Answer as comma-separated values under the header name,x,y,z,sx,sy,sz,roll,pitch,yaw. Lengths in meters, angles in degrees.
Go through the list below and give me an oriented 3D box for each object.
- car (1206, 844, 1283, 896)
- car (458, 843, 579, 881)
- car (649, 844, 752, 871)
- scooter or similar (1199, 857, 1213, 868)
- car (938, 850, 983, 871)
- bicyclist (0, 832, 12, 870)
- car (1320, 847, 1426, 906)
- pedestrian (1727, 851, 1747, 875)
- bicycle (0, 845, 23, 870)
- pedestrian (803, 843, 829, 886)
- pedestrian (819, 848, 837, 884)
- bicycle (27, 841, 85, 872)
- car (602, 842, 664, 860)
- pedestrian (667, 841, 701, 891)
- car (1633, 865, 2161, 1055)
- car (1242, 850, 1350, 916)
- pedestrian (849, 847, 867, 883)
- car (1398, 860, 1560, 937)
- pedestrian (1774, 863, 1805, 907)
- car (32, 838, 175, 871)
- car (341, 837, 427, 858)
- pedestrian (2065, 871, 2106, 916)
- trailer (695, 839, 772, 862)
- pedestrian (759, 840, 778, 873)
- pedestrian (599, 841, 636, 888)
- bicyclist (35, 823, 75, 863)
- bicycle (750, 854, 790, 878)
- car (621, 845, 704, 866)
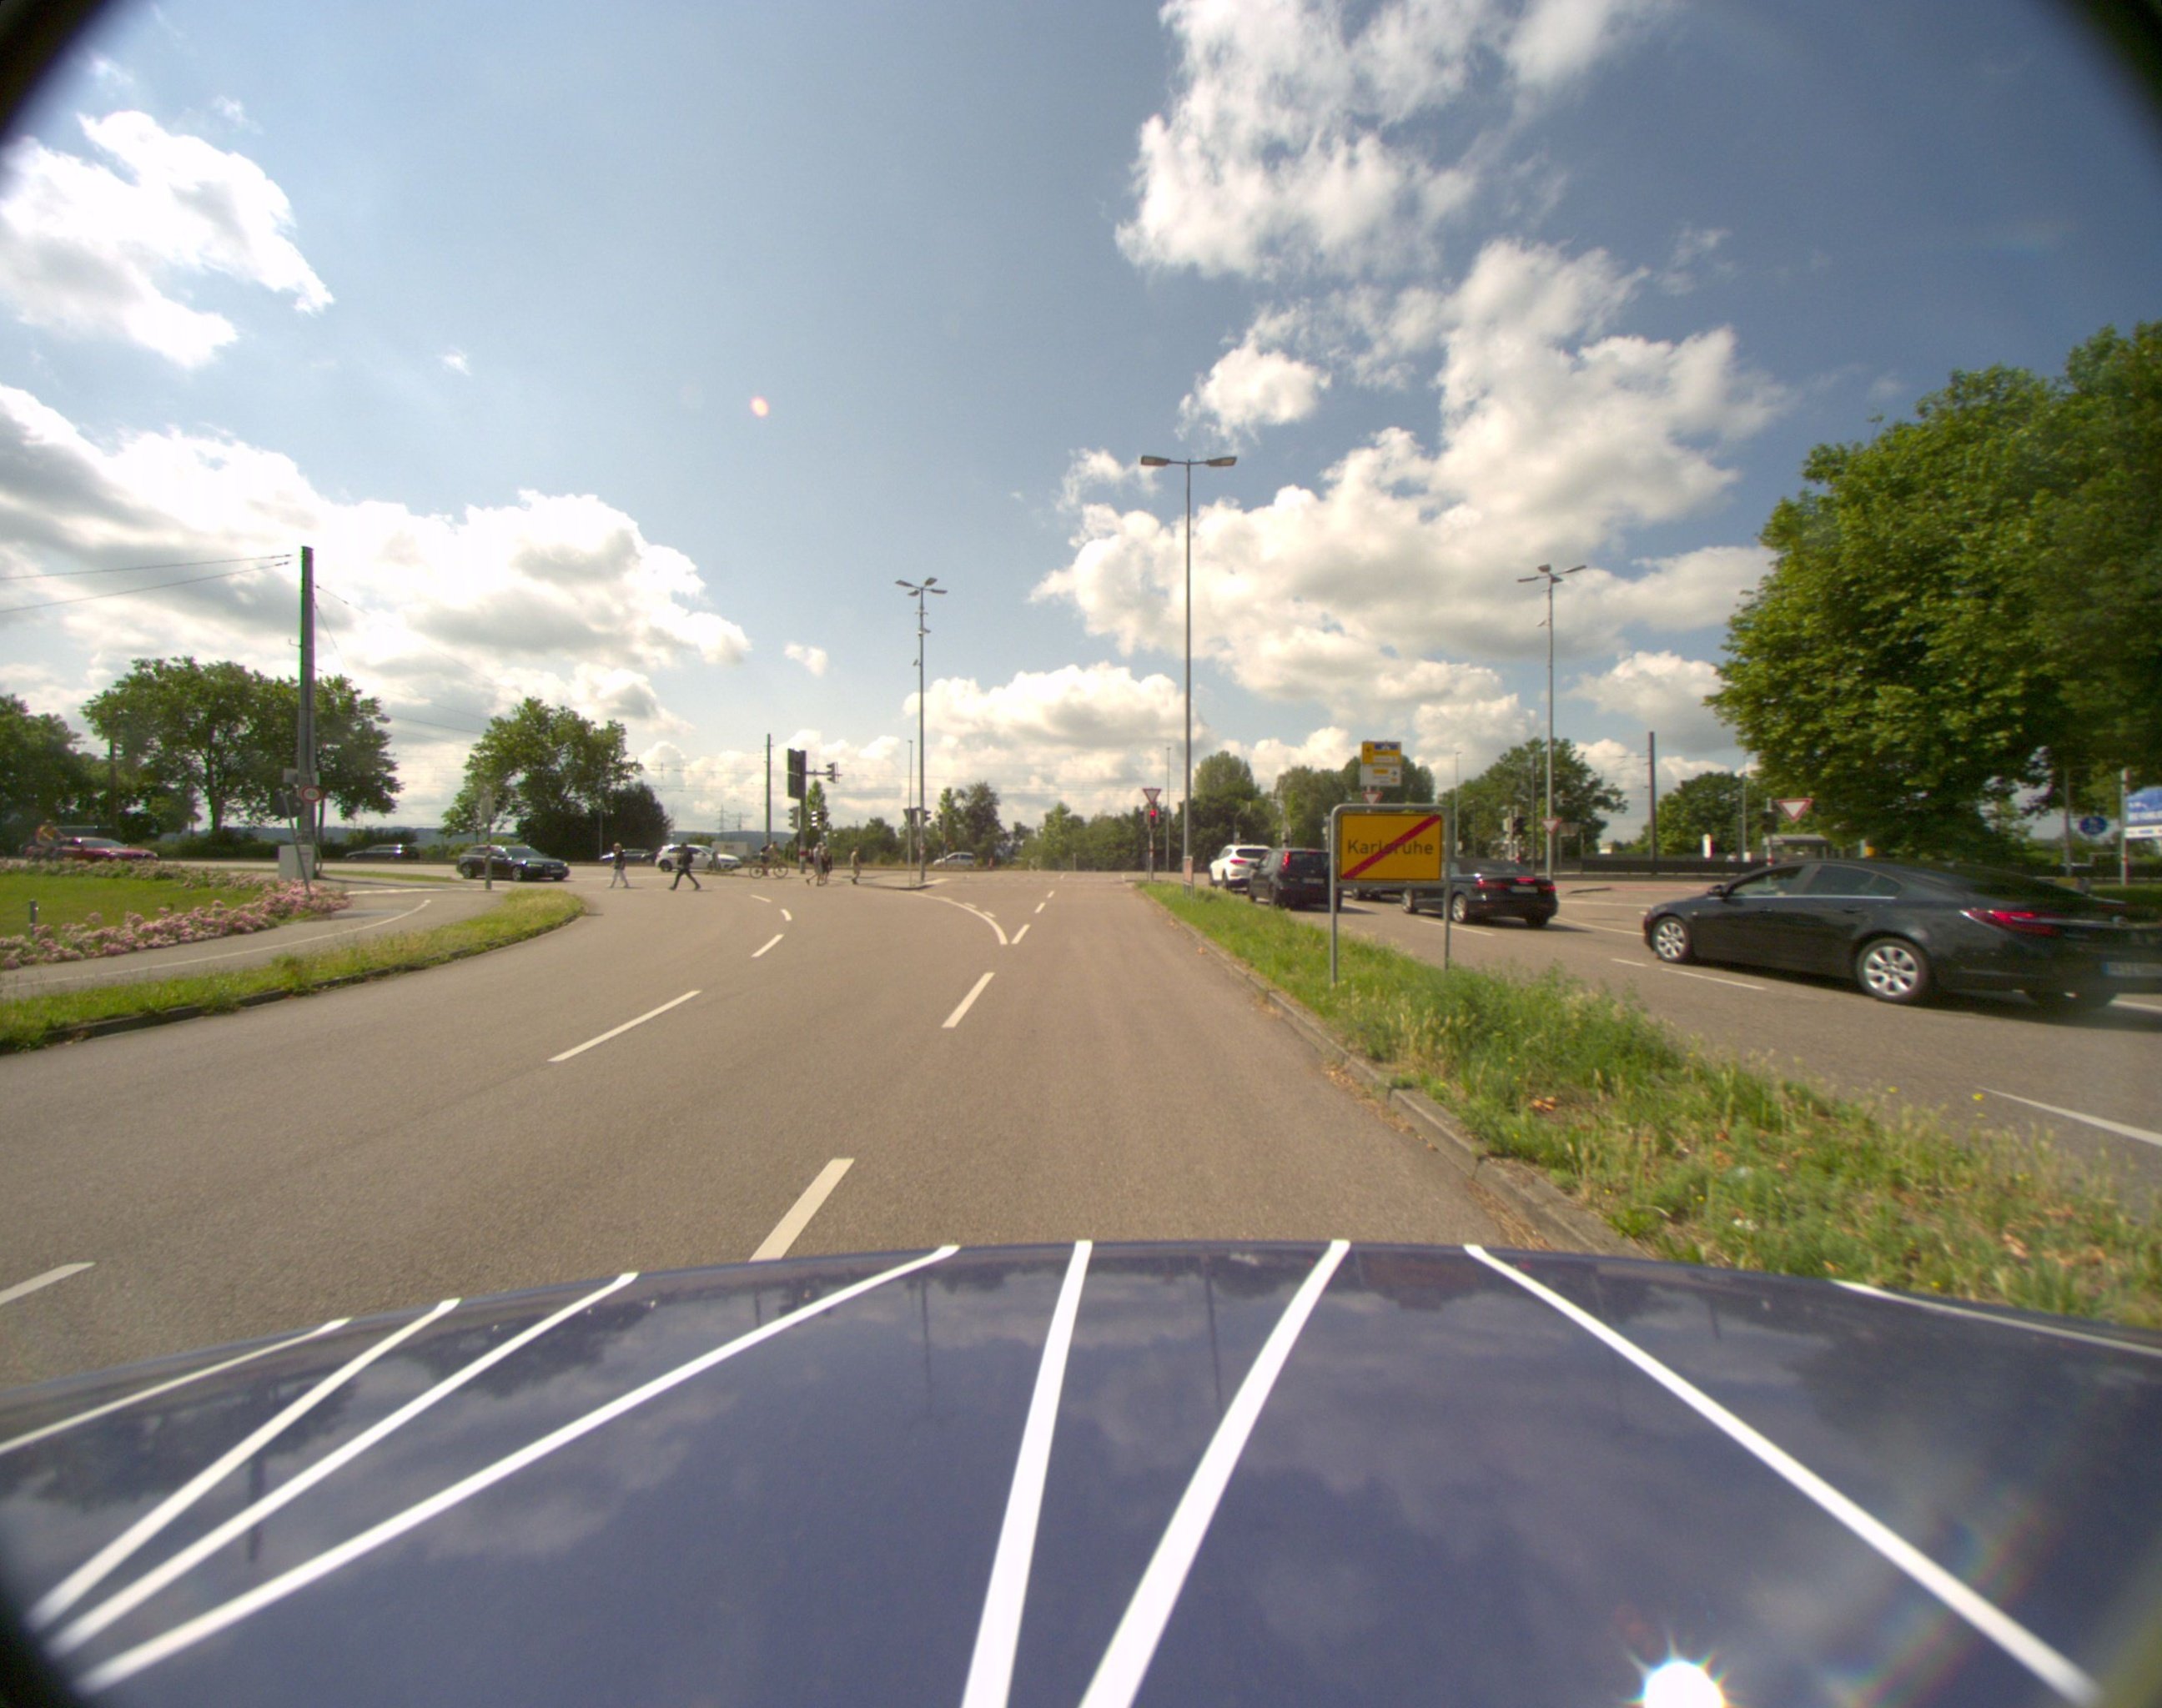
name,x,y,z,sx,sy,sz,roll,pitch,yaw
car,5.602,0.494,26.602,1.712,1.610,4.377,2,1,0
car,-23.626,0.321,31.954,4.193,1.474,1.918,1,1,15
car,-20.456,0.180,40.977,4.495,1.404,2.013,1,0,-2
scooter or similar,12.307,0.856,74.728,1.249,1.092,0.343,-1,0,-2
car,-9.856,0.491,62.321,3.491,1.448,1.699,-3,2,-8
bicyclist,-42.182,-0.107,29.402,0.742,1.466,0.651,-1,0,2
car,9.150,0.635,24.179,1.775,1.606,3.999,2,1,0
pedestrian,48.244,0.649,55.878,0.792,1.698,0.761,1,0,-4
bicycle,-42.226,0.161,29.394,1.695,0.955,0.666,-1,-1,1
pedestrian,-10.711,0.415,30.717,0.688,1.718,0.701,1,2,12
pedestrian,-10.685,0.496,32.097,0.584,1.515,0.469,0,1,10
bicycle,-39.308,0.105,29.137,1.503,1.158,0.621,-1,0,5
car,-36.888,-0.248,62.600,4.068,1.439,1.729,0,1,-5
pedestrian,-14.479,0.444,27.727,0.820,1.792,0.761,0,1,28
car,8.622,0.908,8.442,1.668,1.413,4.518,2,0,0
car,5.450,0.660,19.758,1.608,1.485,4.132,2,1,0
pedestrian,-9.452,0.484,32.250,0.556,1.515,0.470,-1,0,10
car,8.508,0.867,16.682,1.415,1.383,4.096,2,0,1
pedestrian,24.076,1.035,25.820,0.439,1.481,0.619,0,1,-16
car,-43.989,0.005,34.255,4.245,1.352,1.749,1,1,2
car,-55.565,-0.499,60.663,4.782,1.499,1.966,1,-2,-8
pedestrian,30.319,1.188,22.941,0.491,1.316,0.538,0,1,1
trailer,-27.305,-0.276,59.821,5.182,1.820,1.824,0,1,-8
pedestrian,-14.640,0.095,35.585,0.505,1.528,0.687,4,4,41
pedestrian,-17.583,0.390,28.825,0.860,1.755,0.867,0,1,28
bicyclist,-39.354,-0.404,29.149,0.696,1.526,0.621,-1,0,5
bicycle,-14.597,0.534,35.661,0.506,1.042,1.698,4,4,40
car,-32.525,0.156,59.183,5.251,1.564,1.999,-1,-1,-7
